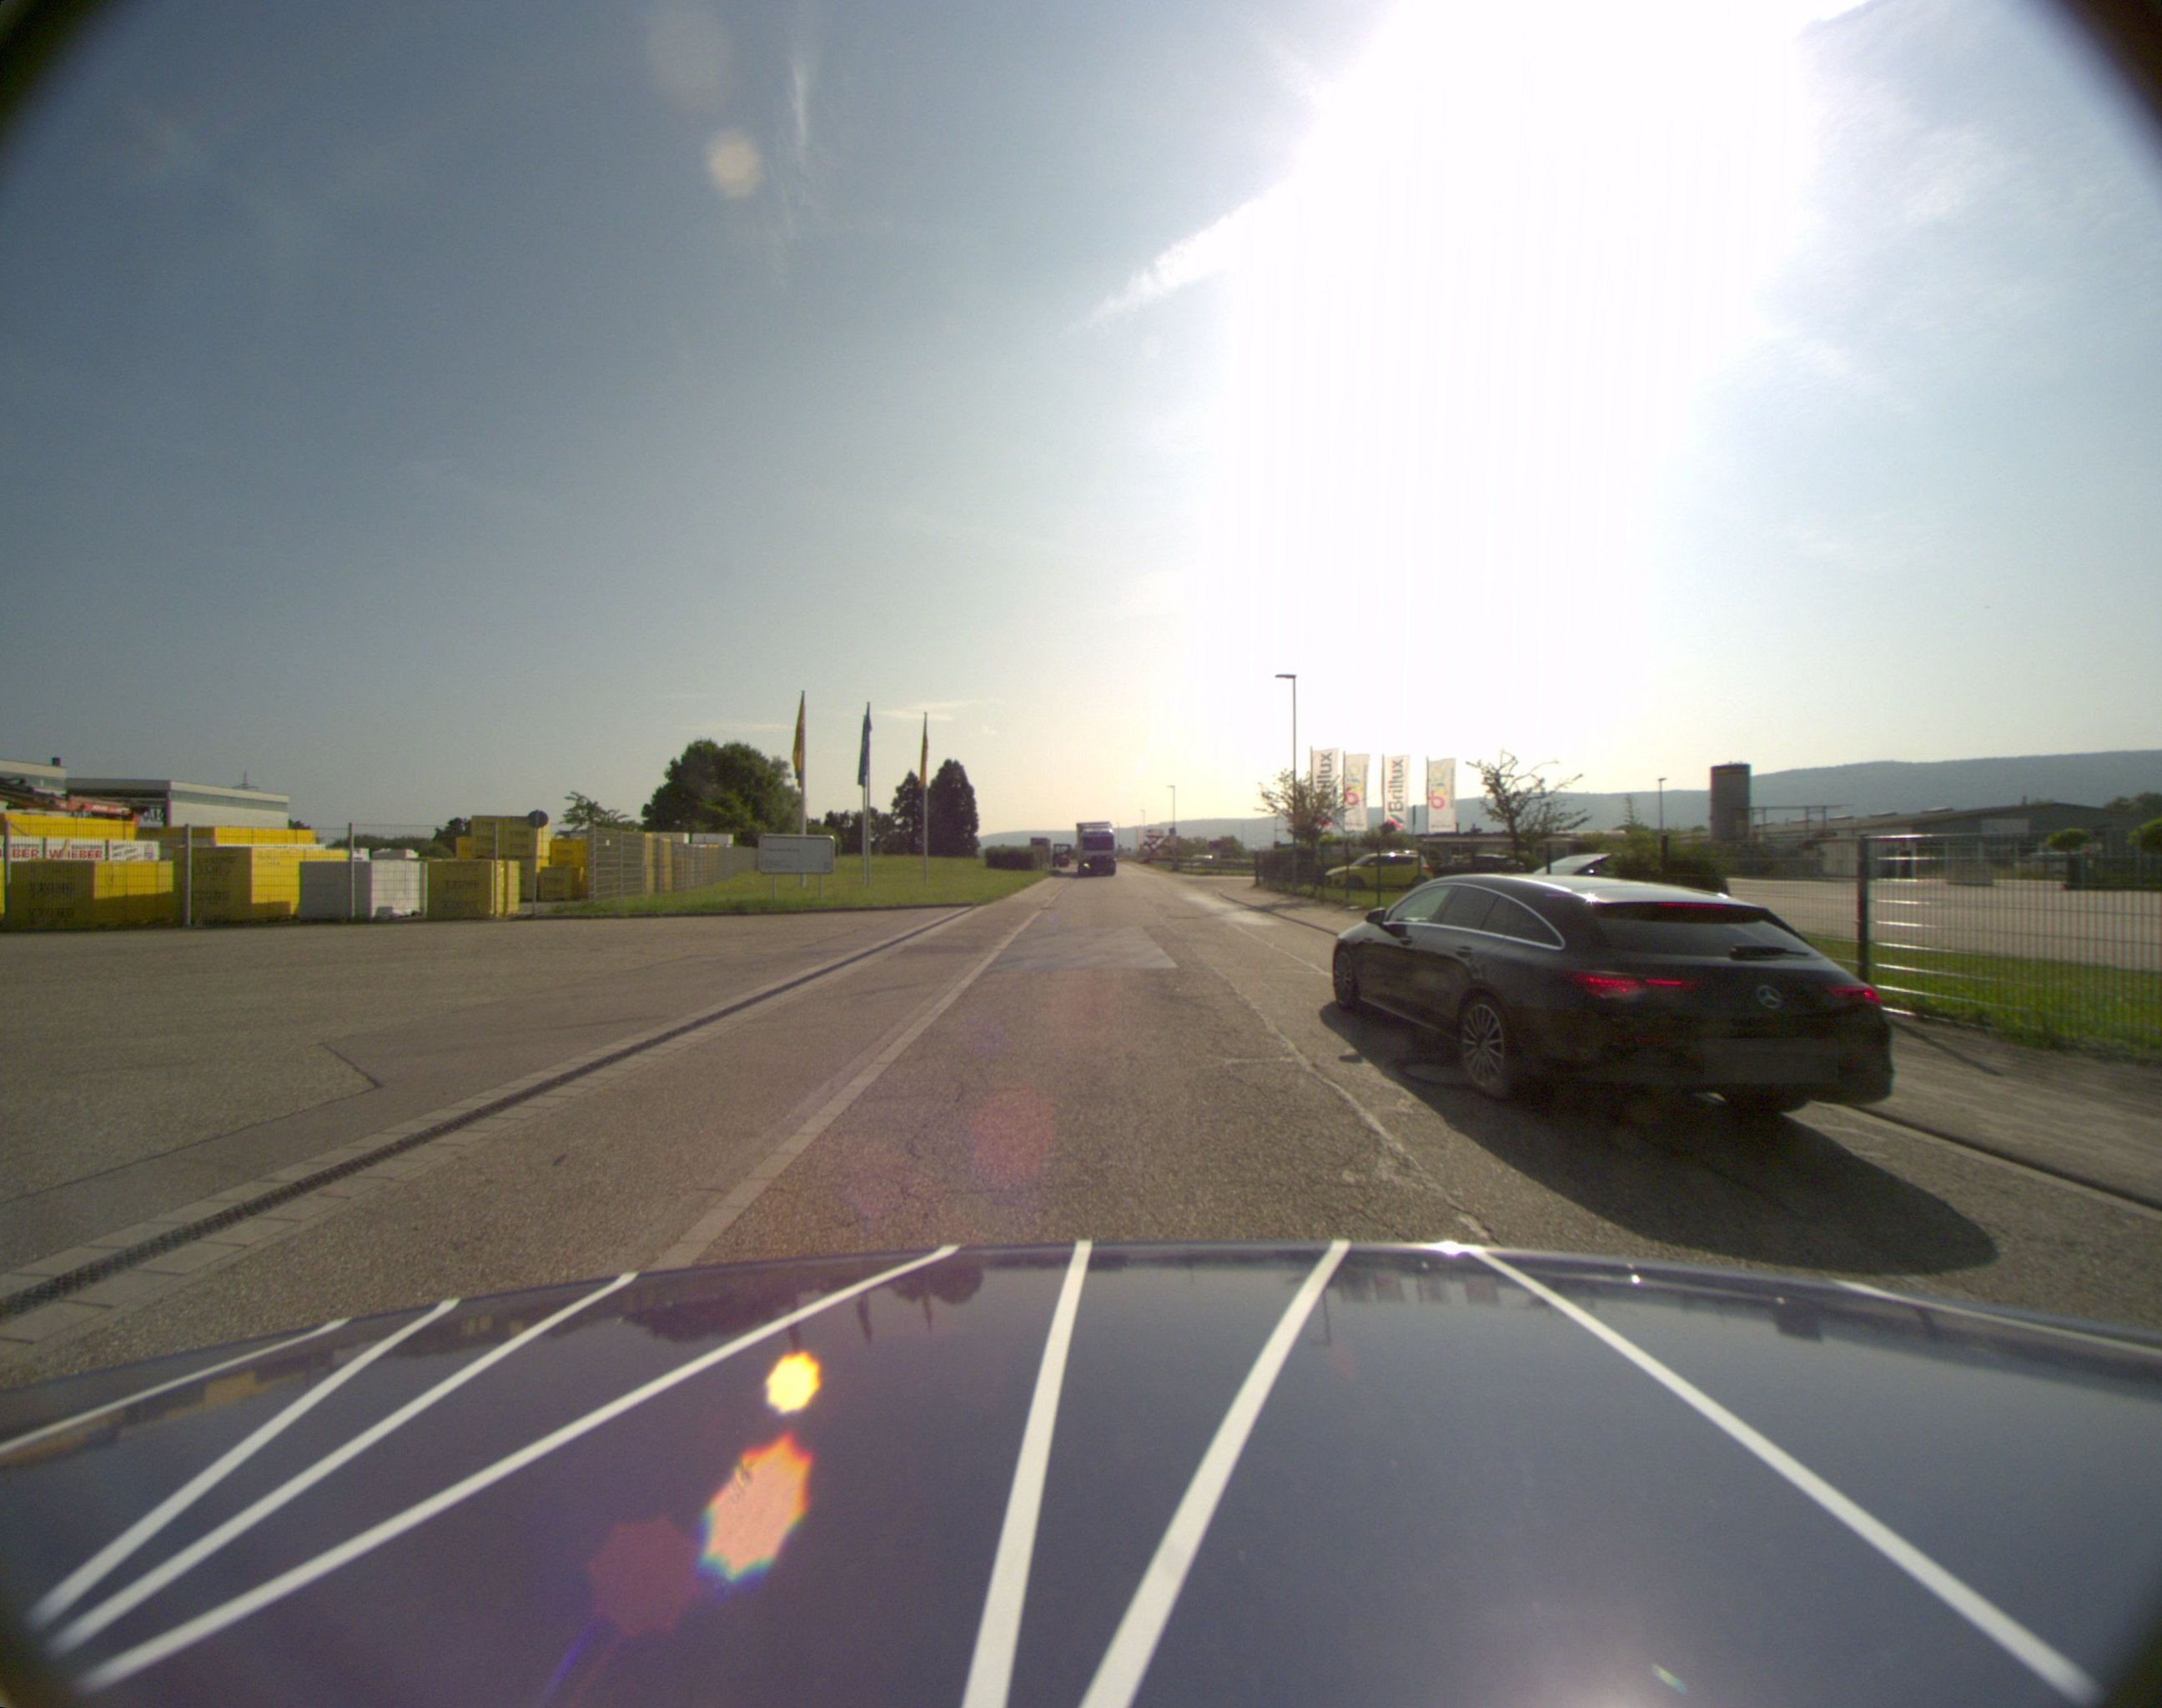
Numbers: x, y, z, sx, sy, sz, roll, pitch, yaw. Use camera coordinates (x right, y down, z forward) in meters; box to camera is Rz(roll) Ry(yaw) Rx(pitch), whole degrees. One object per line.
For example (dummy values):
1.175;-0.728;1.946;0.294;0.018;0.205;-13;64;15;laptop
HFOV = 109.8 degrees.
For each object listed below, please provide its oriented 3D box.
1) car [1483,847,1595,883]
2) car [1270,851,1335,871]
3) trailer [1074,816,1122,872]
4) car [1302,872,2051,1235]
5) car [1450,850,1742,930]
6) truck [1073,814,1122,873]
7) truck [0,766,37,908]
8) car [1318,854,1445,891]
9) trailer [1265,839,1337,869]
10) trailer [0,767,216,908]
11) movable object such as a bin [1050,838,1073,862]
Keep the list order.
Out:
23.408;0.517;39.069;4.653;1.742;2.155;0;1;22;car
19.615;0.616;67.525;5.272;1.696;2.001;1;0;8;car
1.589;-0.879;64.772;3.497;4.183;14.233;-2;1;2;trailer
3.304;0.950;5.608;1.999;1.441;4.419;2;0;0;car
10.675;0.706;16.051;4.697;1.435;2.078;2;0;1;car
1.273;-0.805;57.712;3.395;4.183;6.098;-2;1;1;truck
-30.121;-0.405;19.155;2.548;3.854;3.992;-2;1;-21;truck
11.549;0.687;29.434;4.174;1.360;1.868;0;0;2;car
20.471;-0.035;70.942;6.314;2.590;2.857;1;1;15;trailer
-31.953;-0.425;24.070;2.487;3.854;7.786;-2;1;-21;trailer
-2.511;-0.482;97.631;2.435;2.994;5.750;1;0;-6;movable object such as a bin
